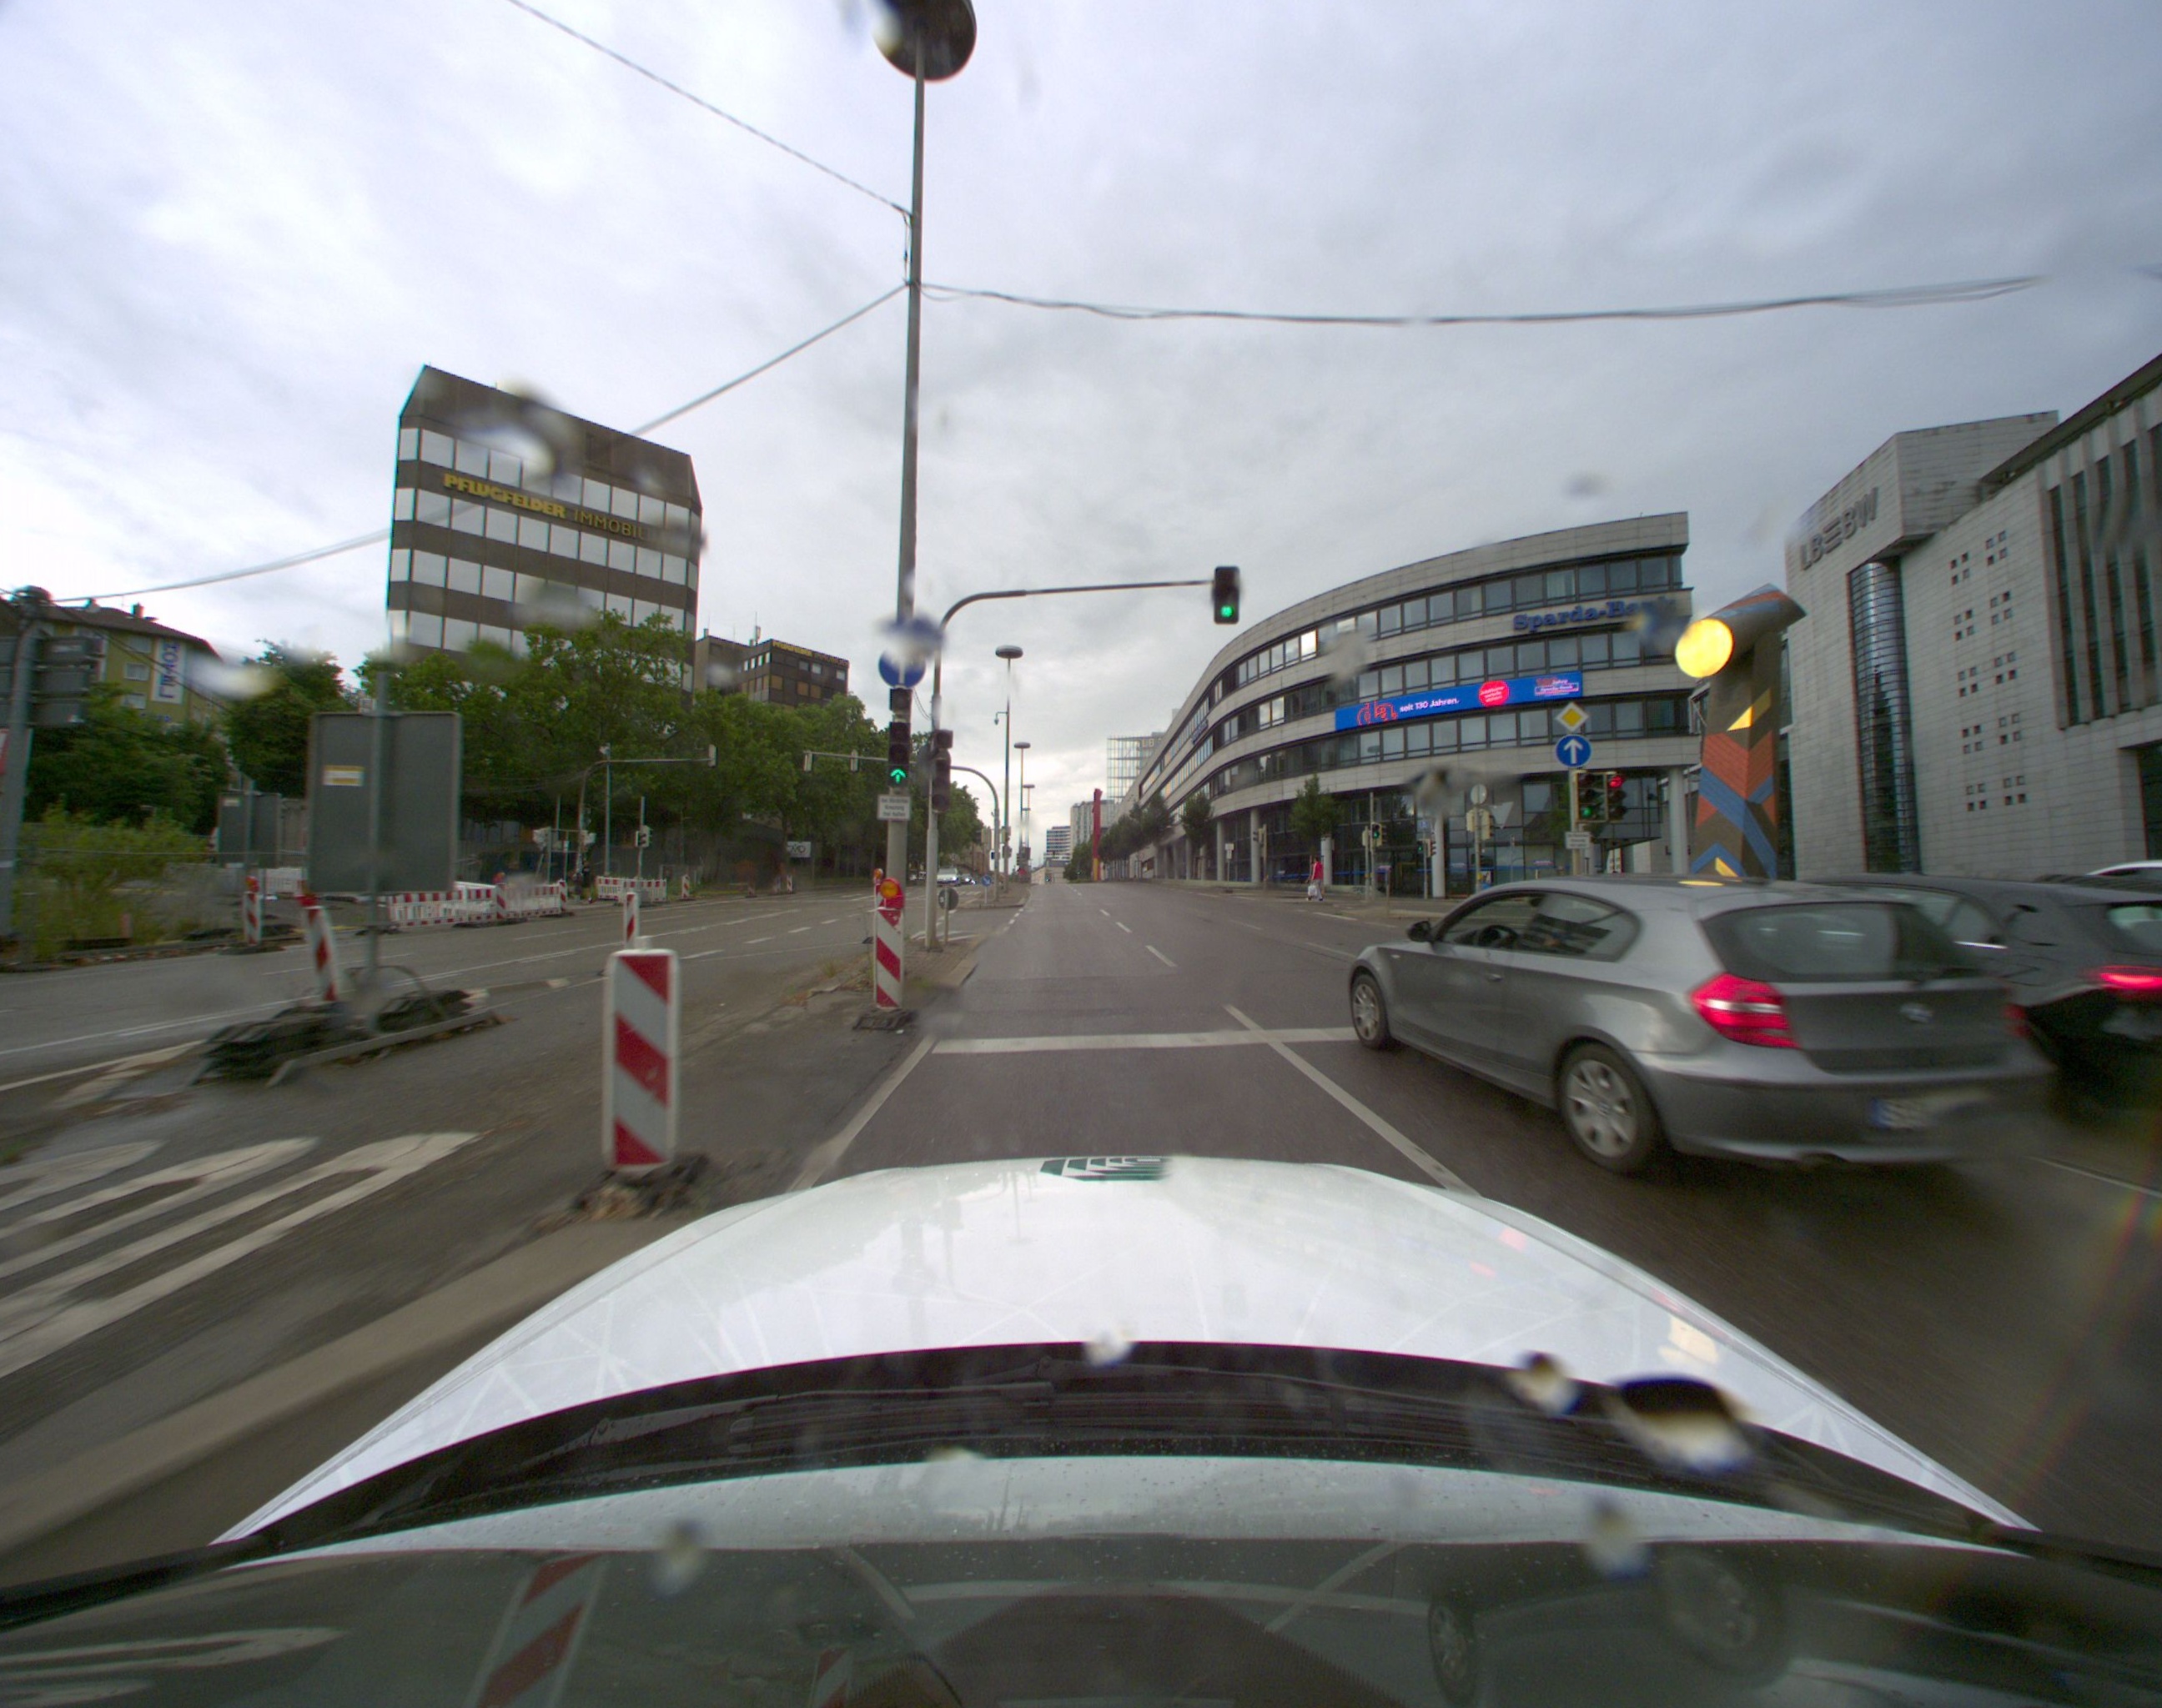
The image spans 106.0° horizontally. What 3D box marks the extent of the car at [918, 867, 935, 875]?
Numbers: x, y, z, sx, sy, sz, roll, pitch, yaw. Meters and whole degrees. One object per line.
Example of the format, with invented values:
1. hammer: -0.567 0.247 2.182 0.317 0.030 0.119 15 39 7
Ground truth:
1. car: -35.670 3.974 187.817 3.623 1.701 1.821 -2 -3 -6

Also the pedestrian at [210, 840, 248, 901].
1. pedestrian: -30.151 0.604 28.839 0.746 2.140 0.738 2 -4 -38

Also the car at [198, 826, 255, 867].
1. car: -56.735 -0.445 54.155 2.241 2.443 5.437 3 -4 -43

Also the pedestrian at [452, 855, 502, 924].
1. pedestrian: -17.019 1.003 22.960 0.758 1.923 0.742 0 -3 0

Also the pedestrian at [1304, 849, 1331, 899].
1. pedestrian: 9.158 0.796 31.517 0.833 1.905 0.866 -1 -3 24

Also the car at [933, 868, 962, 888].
1. car: -10.530 1.863 64.544 1.757 1.461 4.355 -1 0 -3

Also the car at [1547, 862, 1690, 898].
1. car: 22.504 1.105 34.274 4.671 1.442 1.871 0 -3 9

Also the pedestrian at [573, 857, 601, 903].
1. pedestrian: -20.682 1.105 34.096 0.741 1.880 0.744 1 -3 -12

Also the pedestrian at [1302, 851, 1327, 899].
1. pedestrian: 9.347 0.834 32.556 0.833 1.905 0.736 -1 -2 24

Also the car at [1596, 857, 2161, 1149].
1. car: 6.062 0.765 6.047 1.749 1.407 4.225 -1 -2 -1

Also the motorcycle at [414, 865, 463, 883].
1. motorcycle: -36.994 1.162 46.934 2.193 1.037 0.559 1 -1 -37

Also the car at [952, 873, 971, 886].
1. car: -14.665 3.178 100.226 1.803 1.448 4.335 -1 0 -3

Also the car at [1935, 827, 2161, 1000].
1. car: 11.285 0.562 8.185 1.757 1.634 4.602 0 -1 18

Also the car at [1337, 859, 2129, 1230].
1. car: 3.271 0.769 5.253 1.737 1.443 3.993 0 -1 -5

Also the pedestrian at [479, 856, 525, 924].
1. pedestrian: -16.287 1.012 22.929 0.670 1.902 0.775 0 -3 0
